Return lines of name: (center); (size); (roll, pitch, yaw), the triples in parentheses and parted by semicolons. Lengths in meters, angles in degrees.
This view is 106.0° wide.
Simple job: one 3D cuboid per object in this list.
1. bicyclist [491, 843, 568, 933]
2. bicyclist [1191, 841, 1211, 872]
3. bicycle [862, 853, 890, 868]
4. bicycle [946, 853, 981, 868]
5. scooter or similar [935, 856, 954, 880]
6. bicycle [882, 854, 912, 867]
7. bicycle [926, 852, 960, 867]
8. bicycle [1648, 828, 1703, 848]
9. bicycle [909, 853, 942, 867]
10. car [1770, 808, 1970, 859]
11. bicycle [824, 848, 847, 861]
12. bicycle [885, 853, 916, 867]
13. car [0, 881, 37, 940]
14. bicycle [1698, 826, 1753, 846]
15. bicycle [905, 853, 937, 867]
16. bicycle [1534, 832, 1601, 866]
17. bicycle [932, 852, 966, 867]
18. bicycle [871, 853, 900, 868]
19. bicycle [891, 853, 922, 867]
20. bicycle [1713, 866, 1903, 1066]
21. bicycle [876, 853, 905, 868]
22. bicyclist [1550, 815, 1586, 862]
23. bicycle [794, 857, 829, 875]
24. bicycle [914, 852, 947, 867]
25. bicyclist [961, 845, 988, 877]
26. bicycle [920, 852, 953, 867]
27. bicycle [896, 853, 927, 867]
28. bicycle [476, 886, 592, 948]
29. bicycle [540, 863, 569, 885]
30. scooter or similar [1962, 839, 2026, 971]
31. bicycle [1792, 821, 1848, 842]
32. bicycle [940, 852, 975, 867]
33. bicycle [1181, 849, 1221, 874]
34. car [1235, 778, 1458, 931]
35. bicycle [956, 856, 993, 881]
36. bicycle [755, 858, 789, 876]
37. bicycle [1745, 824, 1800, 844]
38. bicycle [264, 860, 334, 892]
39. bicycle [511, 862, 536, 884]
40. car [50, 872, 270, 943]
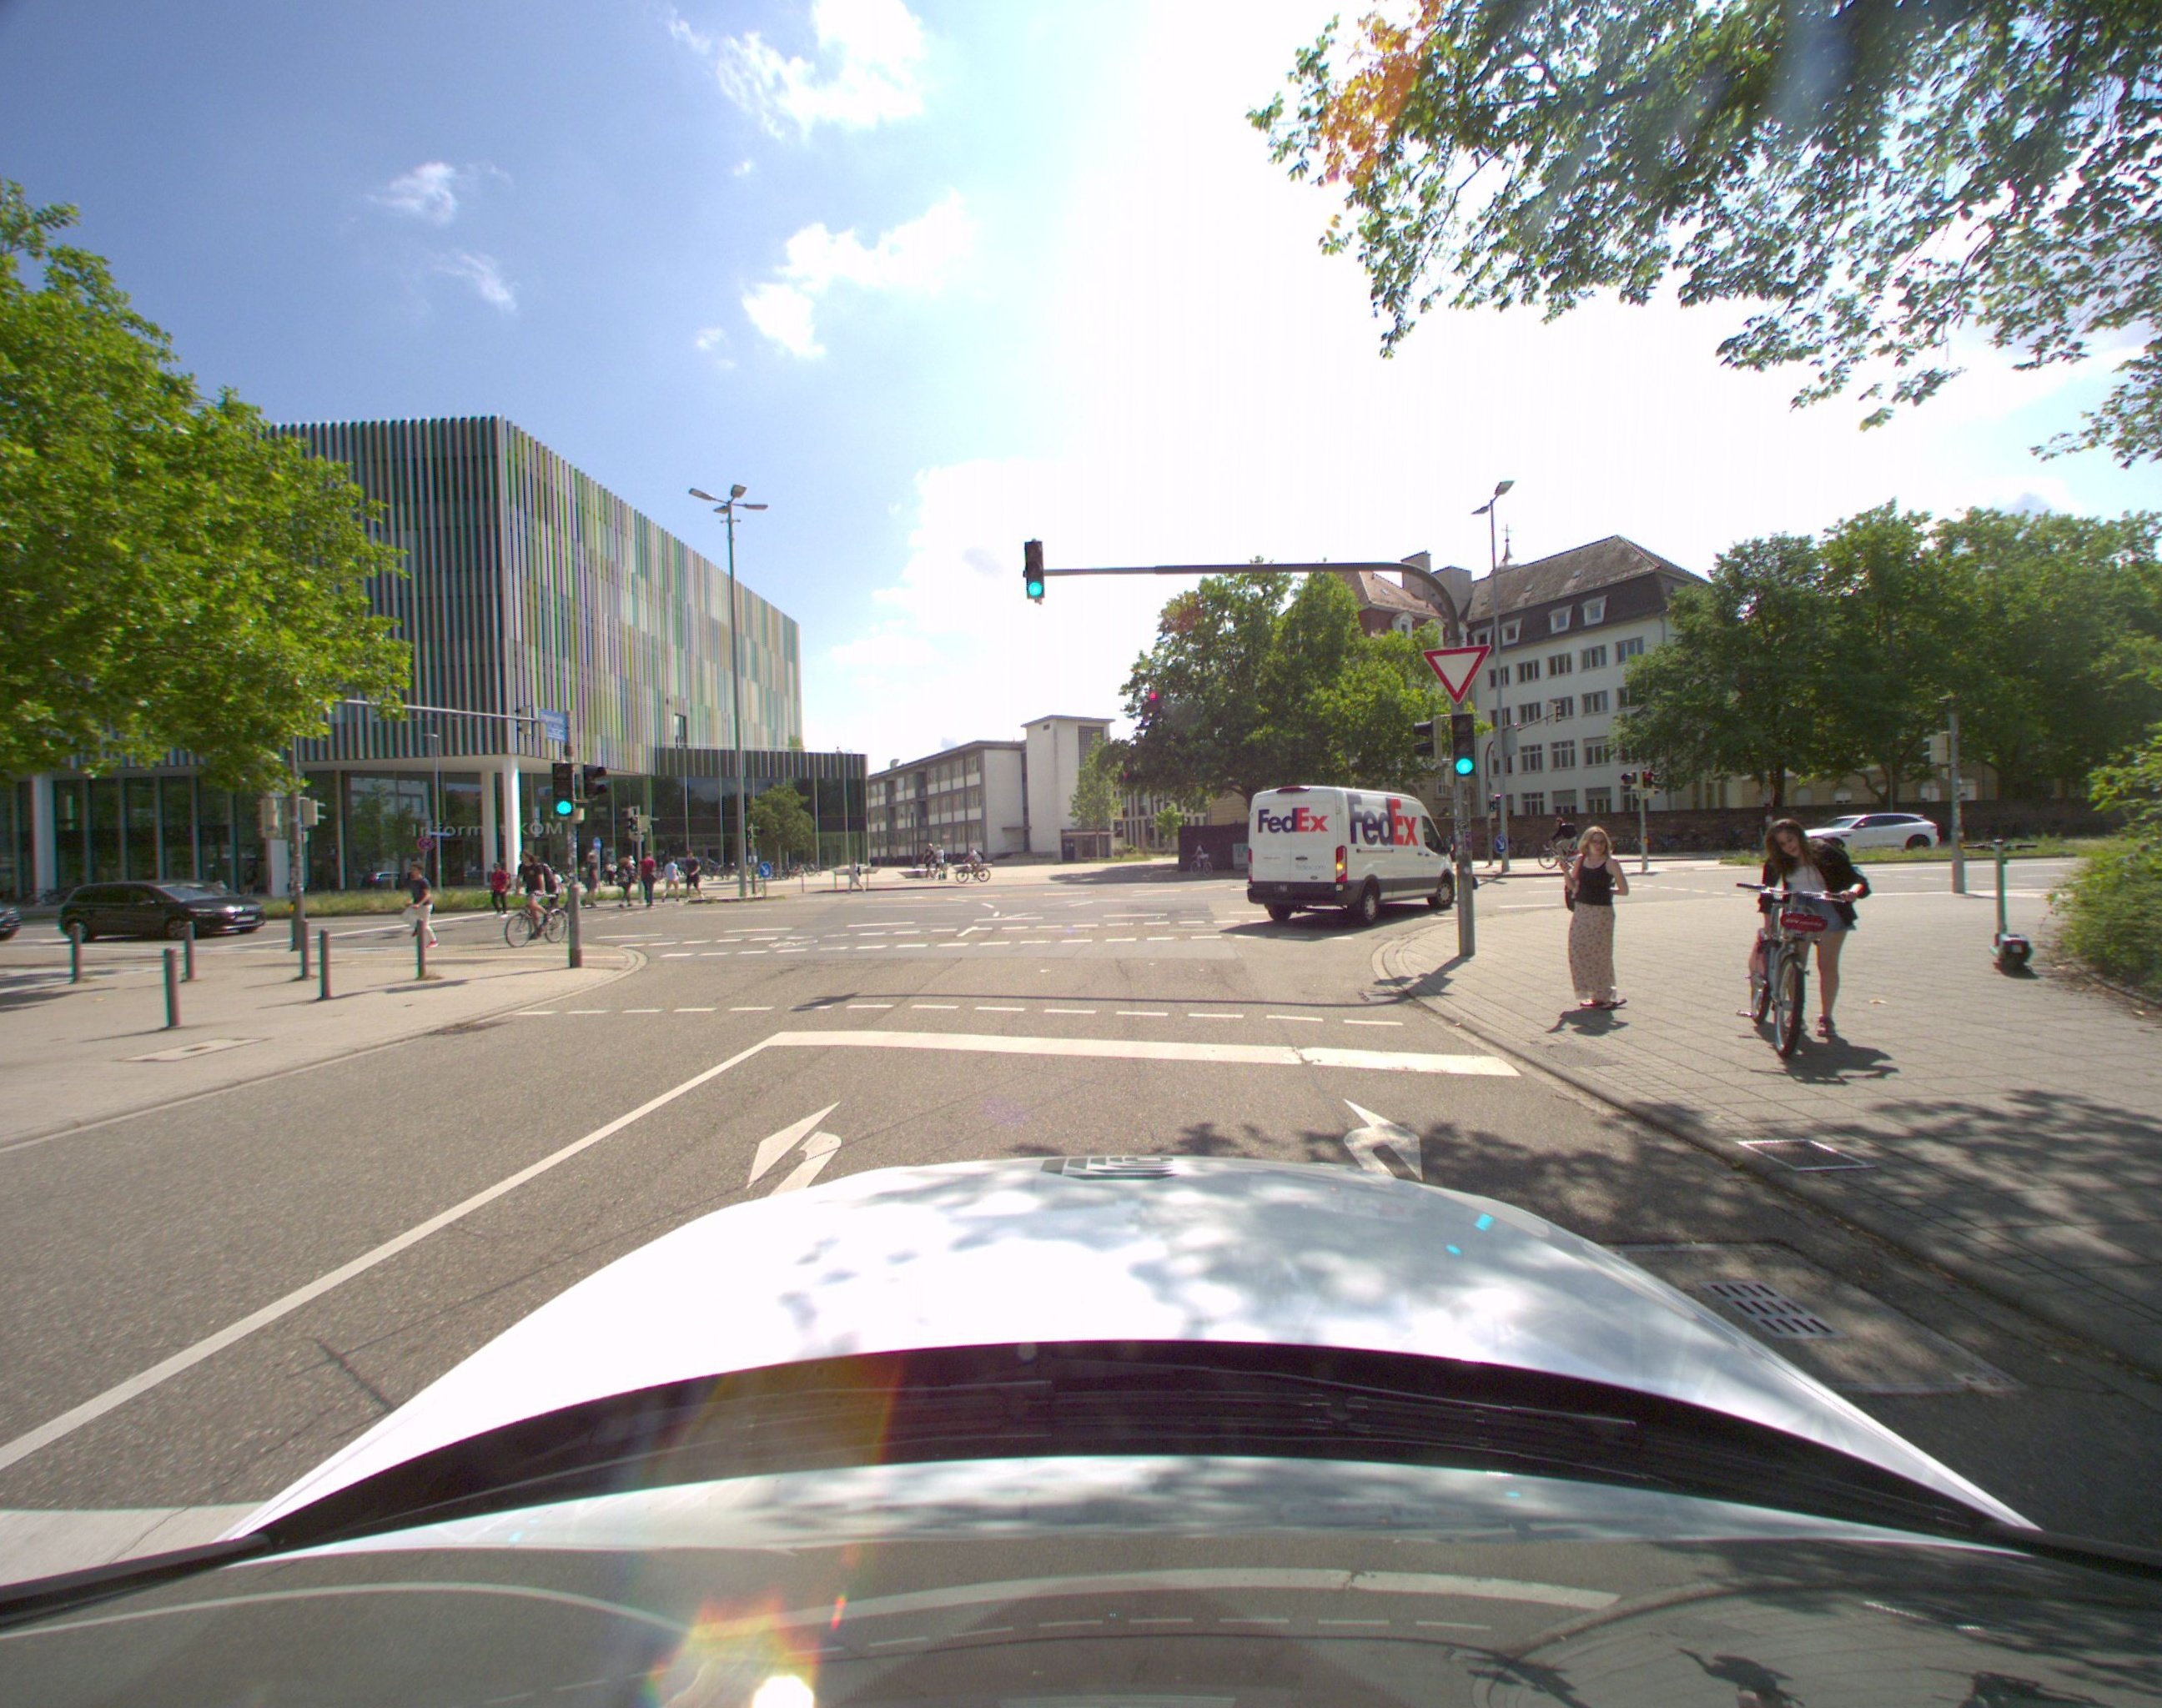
bicyclist: (-11.547, 0.695, 17.094); (0.784, 1.817, 1.003); (-2, 0, 12)
bicyclist: (5.691, 0.117, 38.612); (0.518, 1.452, 0.778); (-2, 0, -35)
bicycle: (-23.826, 0.759, 94.700); (2.978, 1.574, 1.105); (-1, 0, -36)
bicycle: (-10.772, 0.600, 74.559); (2.978, 1.363, 1.105); (-1, 0, -36)
scooter or similar: (-7.038, 0.697, 41.955); (0.717, 1.178, 2.712); (-2, 1, -14)
bicycle: (-20.103, 0.670, 88.914); (2.978, 1.363, 1.105); (-1, 0, -36)
bicycle: (-13.196, 0.513, 78.009); (2.978, 1.363, 1.105); (-1, 0, -36)
bicycle: (31.360, -0.840, 42.944); (2.374, 0.994, 0.753); (-2, 0, -2)
bicycle: (-15.515, 0.586, 81.351); (2.978, 1.363, 1.105); (-1, 0, -36)
car: (29.522, -0.744, 30.628); (5.262, 1.641, 2.004); (-2, 0, 6)
bicycle: (-32.061, 0.044, 106.455); (1.104, 1.574, 2.984); (-1, 0, 29)
bicycle: (-19.450, 0.656, 87.715); (2.978, 1.363, 1.105); (-1, 0, -36)
car: (-33.236, 1.730, 23.284); (4.789, 1.661, 1.654); (-2, 0, 3)
bicycle: (34.127, -0.950, 43.145); (2.376, 0.994, 0.753); (-2, 0, -5)
bicycle: (-16.201, 0.605, 82.395); (2.978, 1.363, 1.105); (-1, 0, -36)
bicycle: (17.784, -0.180, 29.795); (0.685, 1.185, 1.966); (-2, 0, -35)
bicycle: (-12.463, 0.529, 76.973); (2.978, 1.363, 1.262); (-1, 0, -36)
bicycle: (-22.342, 0.727, 93.035); (2.978, 1.574, 1.105); (-1, 0, -36)
bicycle: (-18.389, 0.649, 85.841); (2.978, 1.363, 1.105); (-1, 0, -36)
bicycle: (5.068, 0.704, 5.796); (0.586, 1.127, 1.753); (-5, -1, 30)
bicycle: (-21.435, 0.709, 91.722); (2.978, 1.574, 1.105); (-1, 0, -36)
bicyclist: (17.792, -0.575, 29.750); (0.687, 1.672, 0.880); (-2, 0, -35)
bicycle: (-19.255, 0.831, 58.165); (1.208, 1.237, 2.915); (-1, 0, -43)
bicycle: (-14.790, 0.542, 80.276); (2.978, 1.363, 1.105); (-1, 0, -36)
bicyclist: (-5.230, 0.339, 40.018); (0.841, 1.468, 1.074); (-2, 0, 25)
bicycle: (-14.044, 0.524, 79.198); (2.978, 1.363, 1.105); (-1, 0, -36)
bicycle: (-17.551, 0.633, 84.332); (2.978, 1.363, 1.105); (-1, 0, -36)
bicycle: (-11.513, 1.301, 17.230); (0.765, 1.122, 2.033); (-2, 0, 12)
bicycle: (-31.796, 1.170, 49.115); (1.383, 1.237, 2.920); (-1, 0, -34)
scooter or similar: (8.676, 0.450, 7.758); (0.283, 1.146, 1.185); (-2, 0, 44)
bicycle: (39.325, -1.181, 43.367); (2.375, 0.994, 0.753); (-2, 0, -4)
bicycle: (-11.469, 0.508, 75.680); (2.978, 1.363, 1.105); (-1, 0, -36)
bicycle: (5.668, 0.342, 38.640); (0.554, 1.131, 2.151); (-2, 0, -34)
car: (5.545, -0.058, 16.452); (2.076, 2.566, 5.636); (1, 2, 43)
bicycle: (-5.222, 0.718, 40.013); (0.840, 1.145, 2.007); (-2, 0, 25)
bicycle: (-21.581, 0.909, 56.843); (1.208, 1.237, 2.915); (-1, 0, -43)
bicycle: (36.782, -1.067, 43.352); (2.376, 0.994, 0.753); (-2, 0, -4)
bicycle: (-47.203, 1.300, 49.203); (1.007, 1.838, 2.961); (-1, 0, 12)
bicycle: (-33.097, 1.109, 48.335); (1.206, 1.237, 2.919); (-1, 0, -35)
car: (-25.619, 1.464, 22.744); (4.264, 1.660, 1.655); (-2, 2, 3)
